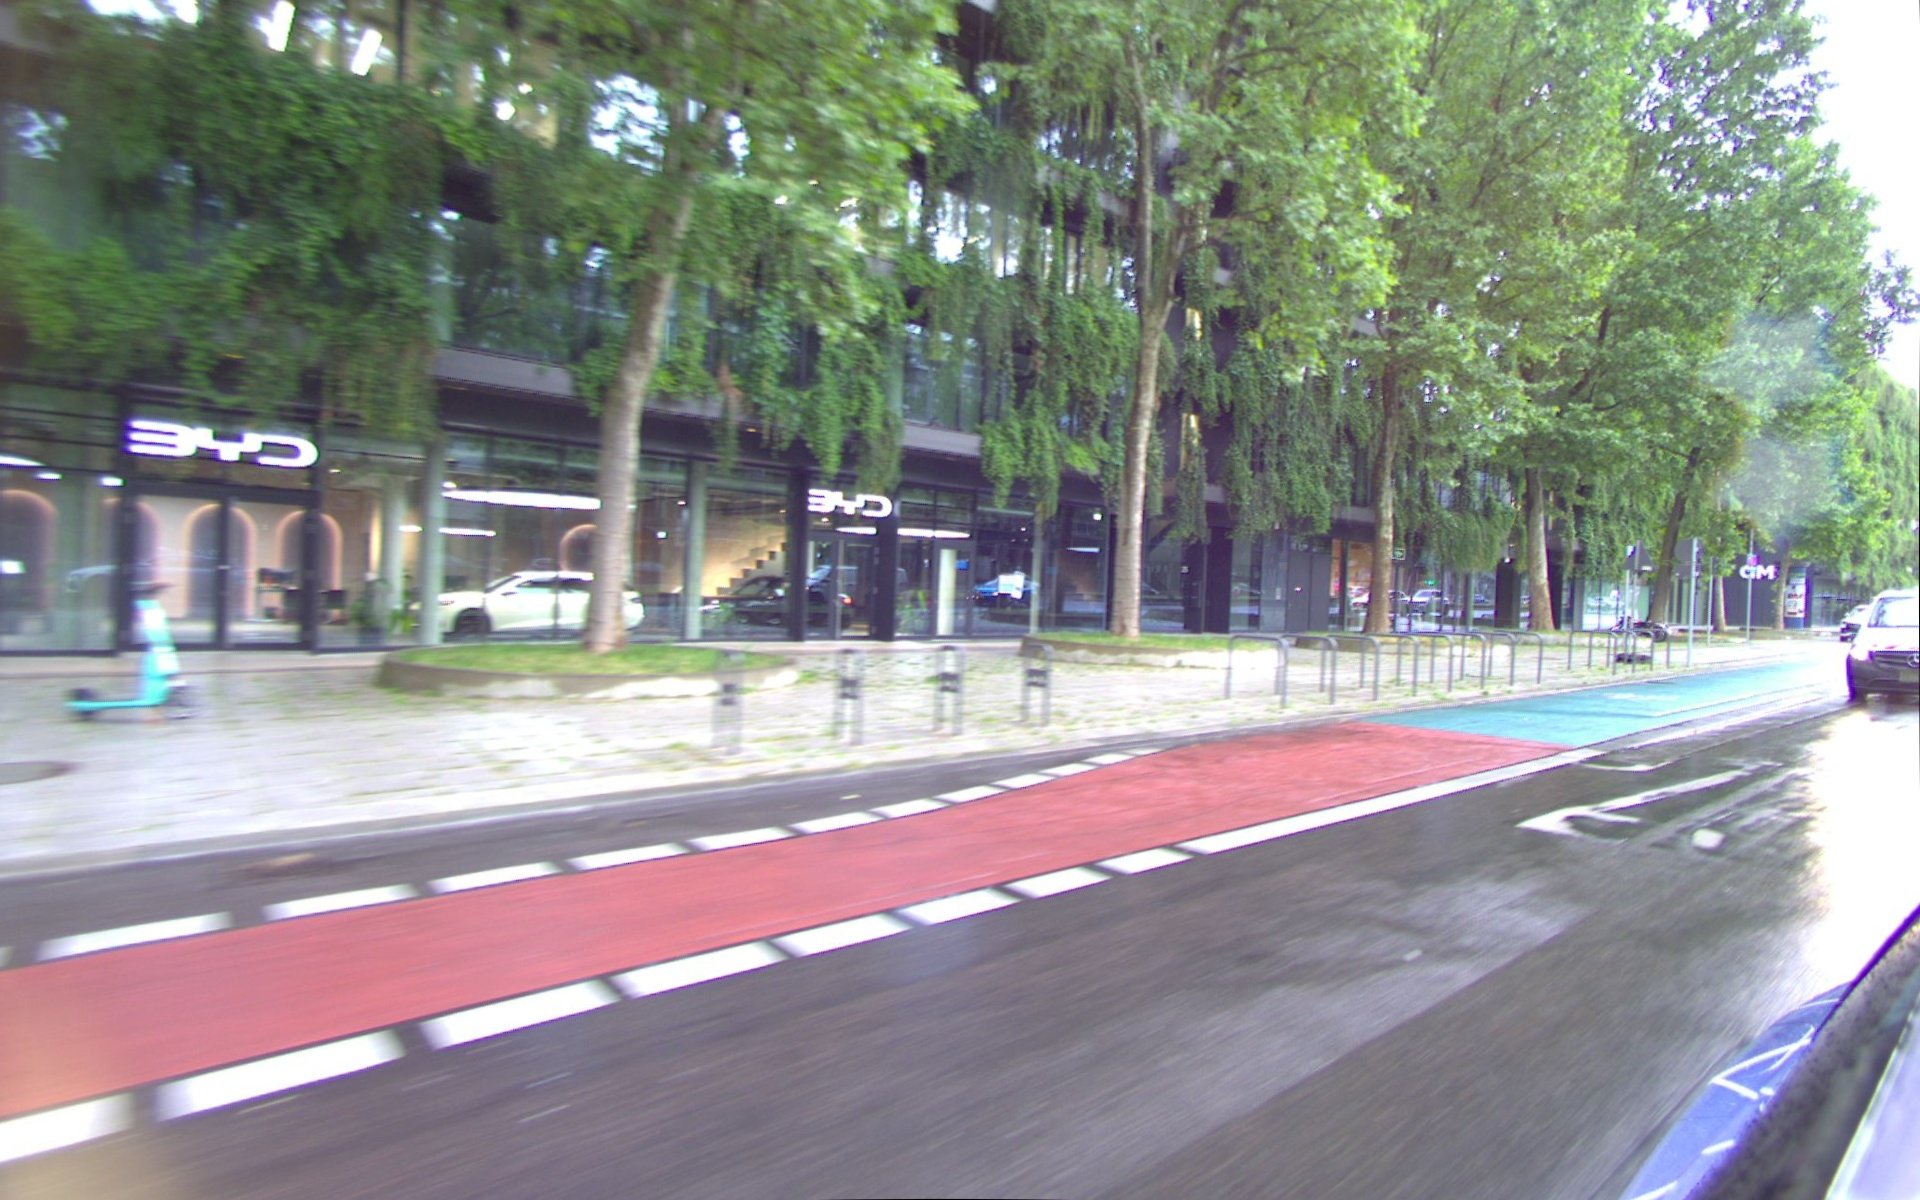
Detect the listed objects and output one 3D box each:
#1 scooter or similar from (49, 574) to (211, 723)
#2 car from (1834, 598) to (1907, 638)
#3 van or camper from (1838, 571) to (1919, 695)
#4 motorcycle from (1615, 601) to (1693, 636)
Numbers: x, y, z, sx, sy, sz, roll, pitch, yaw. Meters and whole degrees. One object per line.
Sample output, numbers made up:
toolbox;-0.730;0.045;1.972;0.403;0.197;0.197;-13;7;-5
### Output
scooter or similar;-7.196;0.412;8.797;1.058;1.243;0.382;1;0;-3
car;41.051;0.804;45.595;4.701;1.653;1.847;1;0;-40
van or camper;17.028;0.557;17.338;5.154;1.937;1.999;1;0;-38
motorcycle;26.838;0.707;39.183;1.034;1.286;2.312;1;-1;-40
